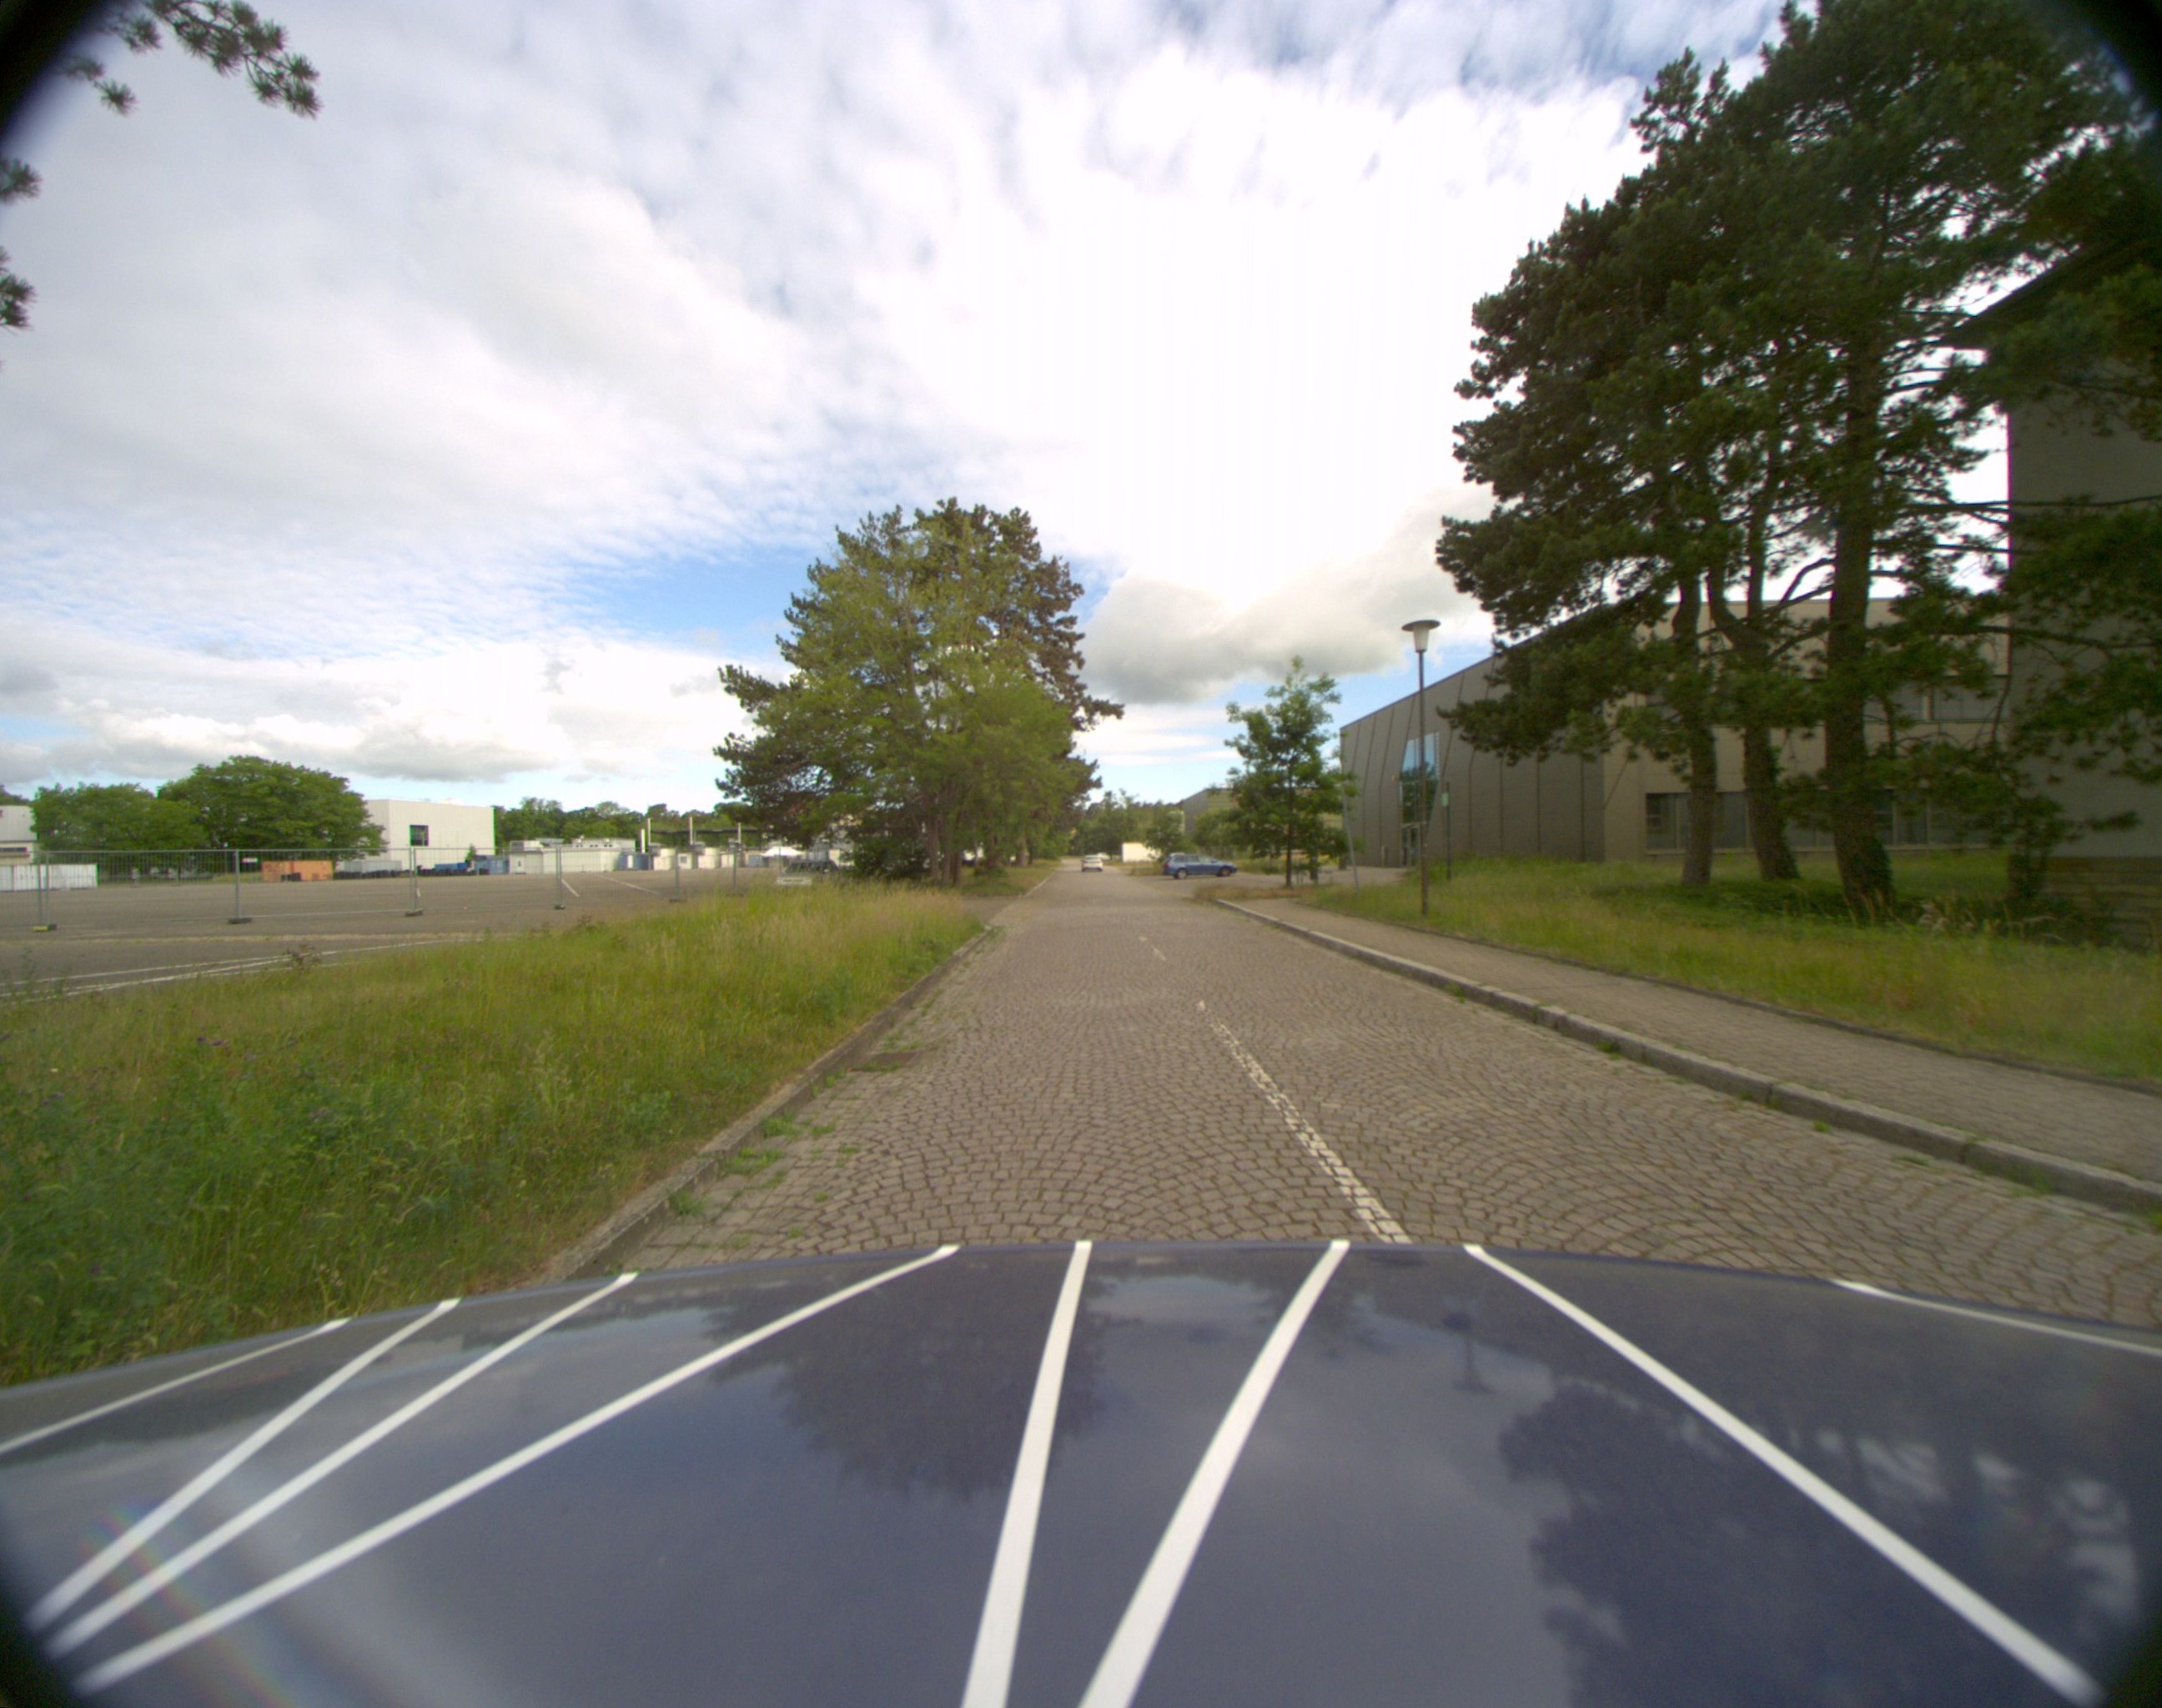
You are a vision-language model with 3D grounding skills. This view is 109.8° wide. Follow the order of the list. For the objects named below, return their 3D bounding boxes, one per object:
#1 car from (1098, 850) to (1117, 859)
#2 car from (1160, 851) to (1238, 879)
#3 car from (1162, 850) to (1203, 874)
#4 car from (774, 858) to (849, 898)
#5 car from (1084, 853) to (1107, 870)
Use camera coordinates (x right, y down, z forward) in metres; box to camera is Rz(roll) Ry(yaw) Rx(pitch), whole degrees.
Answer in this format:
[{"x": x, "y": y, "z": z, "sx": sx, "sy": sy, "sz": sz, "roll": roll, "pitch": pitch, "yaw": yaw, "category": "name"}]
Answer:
[{"x": 5.878, "y": 0.130, "z": 166.235, "sx": 4.062, "sy": 1.767, "sz": 1.792, "roll": -2, "pitch": 1, "yaw": -1, "category": "car"}, {"x": 7.188, "y": 0.643, "z": 46.448, "sx": 4.427, "sy": 1.461, "sz": 1.633, "roll": -3, "pitch": 1, "yaw": -3, "category": "car"}, {"x": 7.160, "y": 0.538, "z": 53.815, "sx": 2.584, "sy": 1.521, "sz": 1.500, "roll": -3, "pitch": 1, "yaw": -2, "category": "car"}, {"x": -11.202, "y": 0.948, "z": 31.884, "sx": 1.678, "sy": 1.442, "sz": 4.487, "roll": -2, "pitch": 1, "yaw": -3, "category": "car"}, {"x": 1.258, "y": 0.658, "z": 68.360, "sx": 1.778, "sy": 1.430, "sz": 4.216, "roll": 2, "pitch": 0, "yaw": -3, "category": "car"}]
